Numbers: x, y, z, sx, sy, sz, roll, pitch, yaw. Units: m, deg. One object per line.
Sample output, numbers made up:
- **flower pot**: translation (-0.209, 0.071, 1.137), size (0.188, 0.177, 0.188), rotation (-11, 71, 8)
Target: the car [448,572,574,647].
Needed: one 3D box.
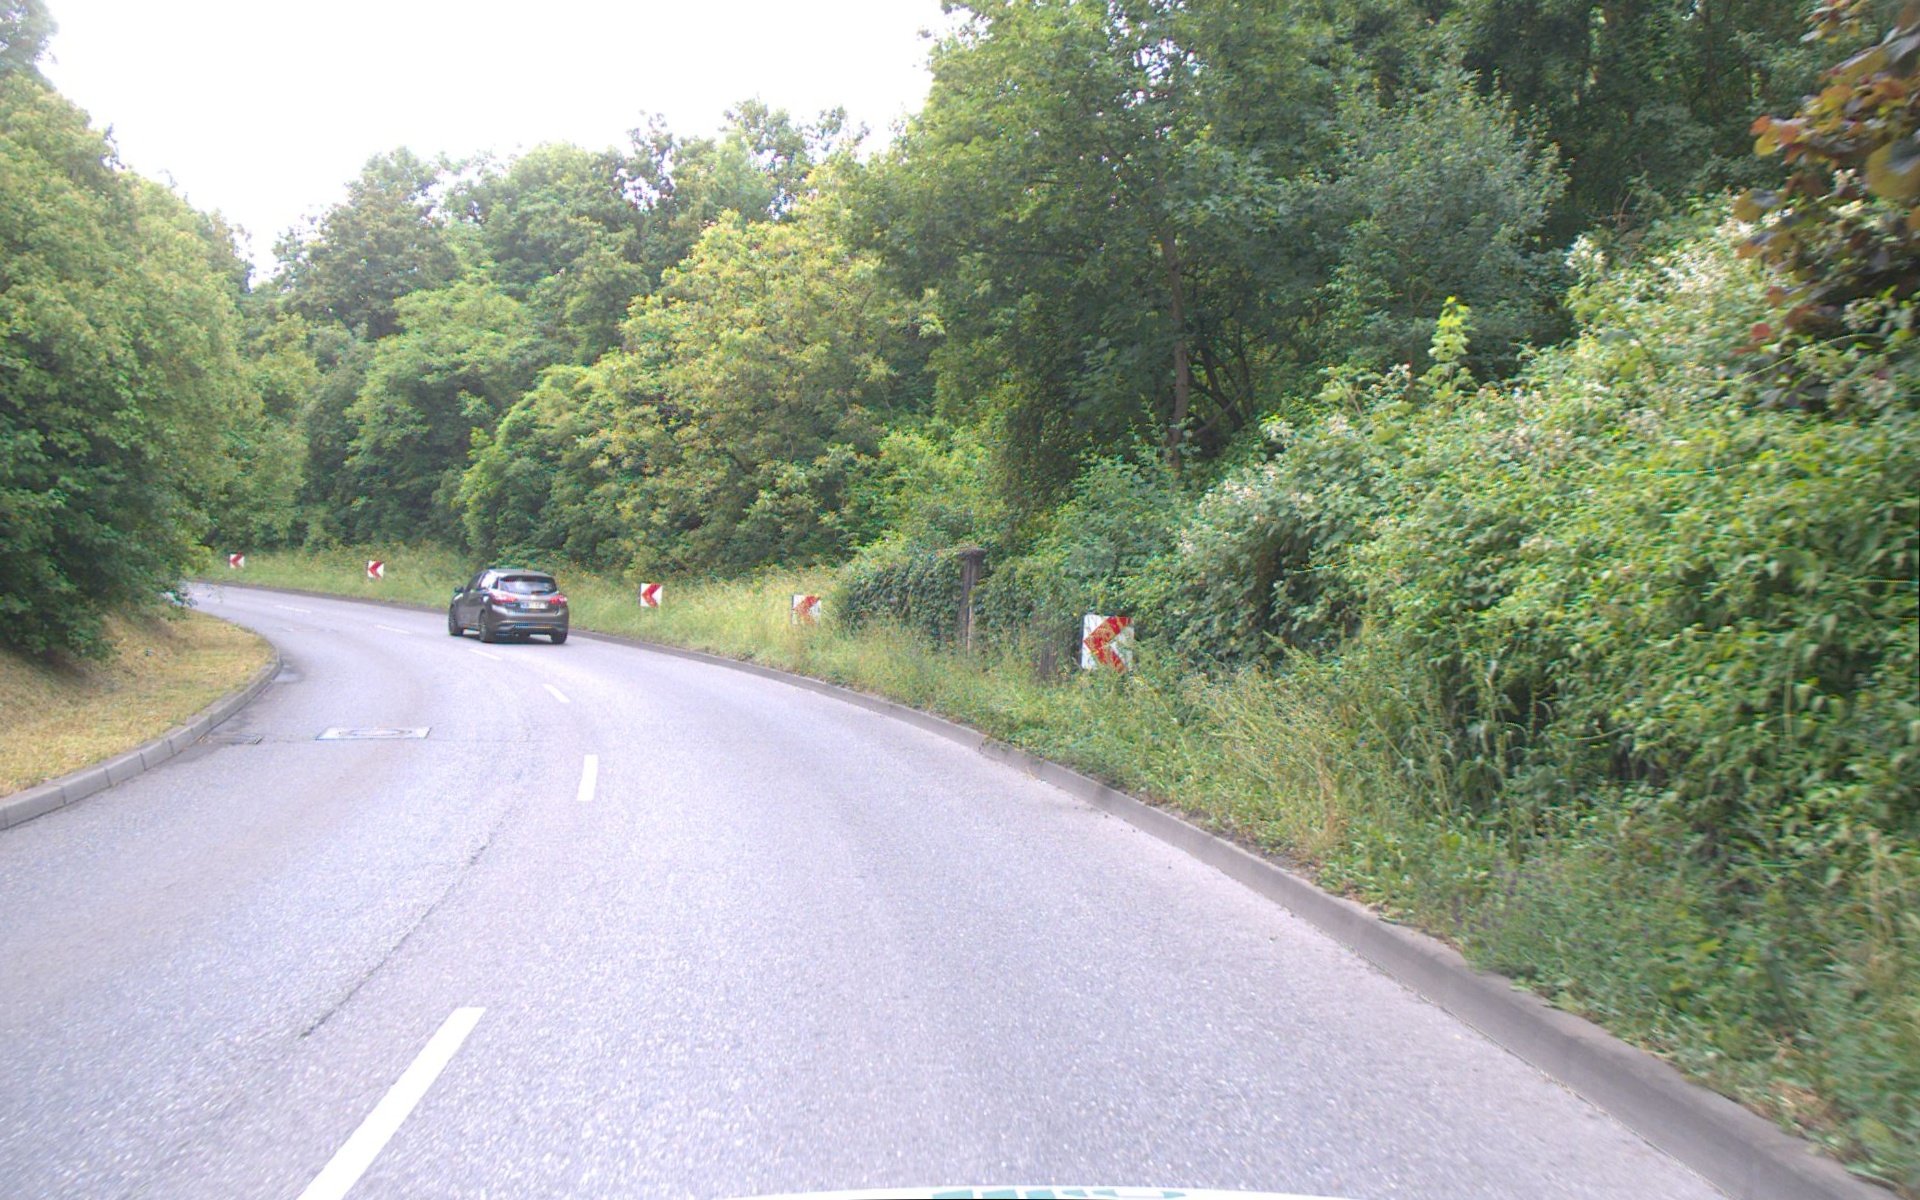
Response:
- **car**: translation (-9.737, 0.155, 35.702), size (1.818, 1.509, 3.964), rotation (-1, 1, -28)
